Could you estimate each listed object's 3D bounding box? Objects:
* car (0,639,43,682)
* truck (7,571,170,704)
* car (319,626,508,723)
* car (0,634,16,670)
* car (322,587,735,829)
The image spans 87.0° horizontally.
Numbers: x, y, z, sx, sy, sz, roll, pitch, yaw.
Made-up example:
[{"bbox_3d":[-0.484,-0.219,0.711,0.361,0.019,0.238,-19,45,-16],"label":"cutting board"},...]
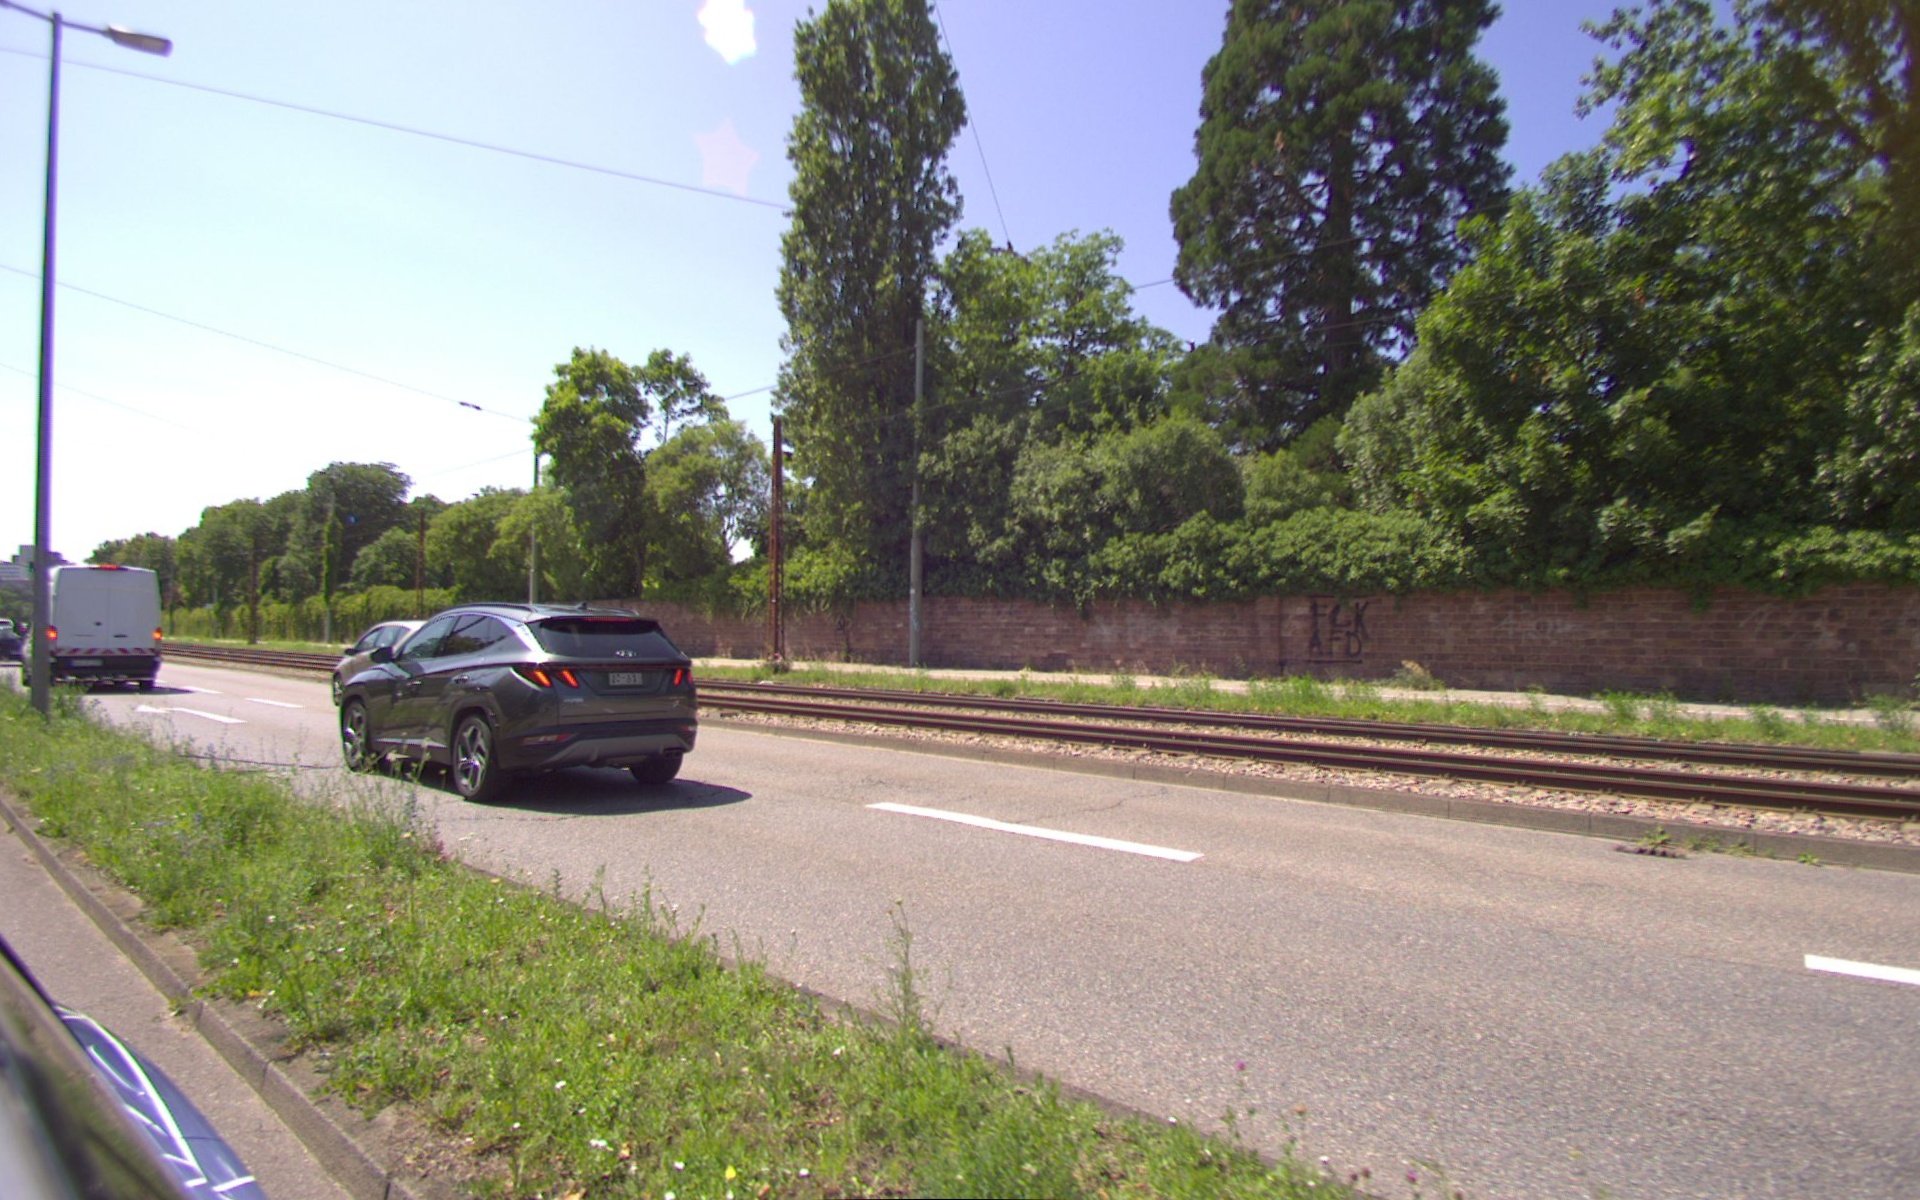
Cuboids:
[{"bbox_3d":[-34.332,2.155,36.296,3.912,1.470,1.698,-2,-3,41],"label":"car"},{"bbox_3d":[-20.368,0.893,23.567,5.544,2.769,2.059,-2,-4,41],"label":"truck"},{"bbox_3d":[-10.119,1.321,18.650,3.768,1.597,1.810,-2,-4,41],"label":"car"},{"bbox_3d":[-48.709,2.577,50.558,4.586,1.762,1.879,-2,-3,42],"label":"car"},{"bbox_3d":[-4.246,0.887,9.597,4.486,1.770,1.810,-2,-4,41],"label":"car"}]
